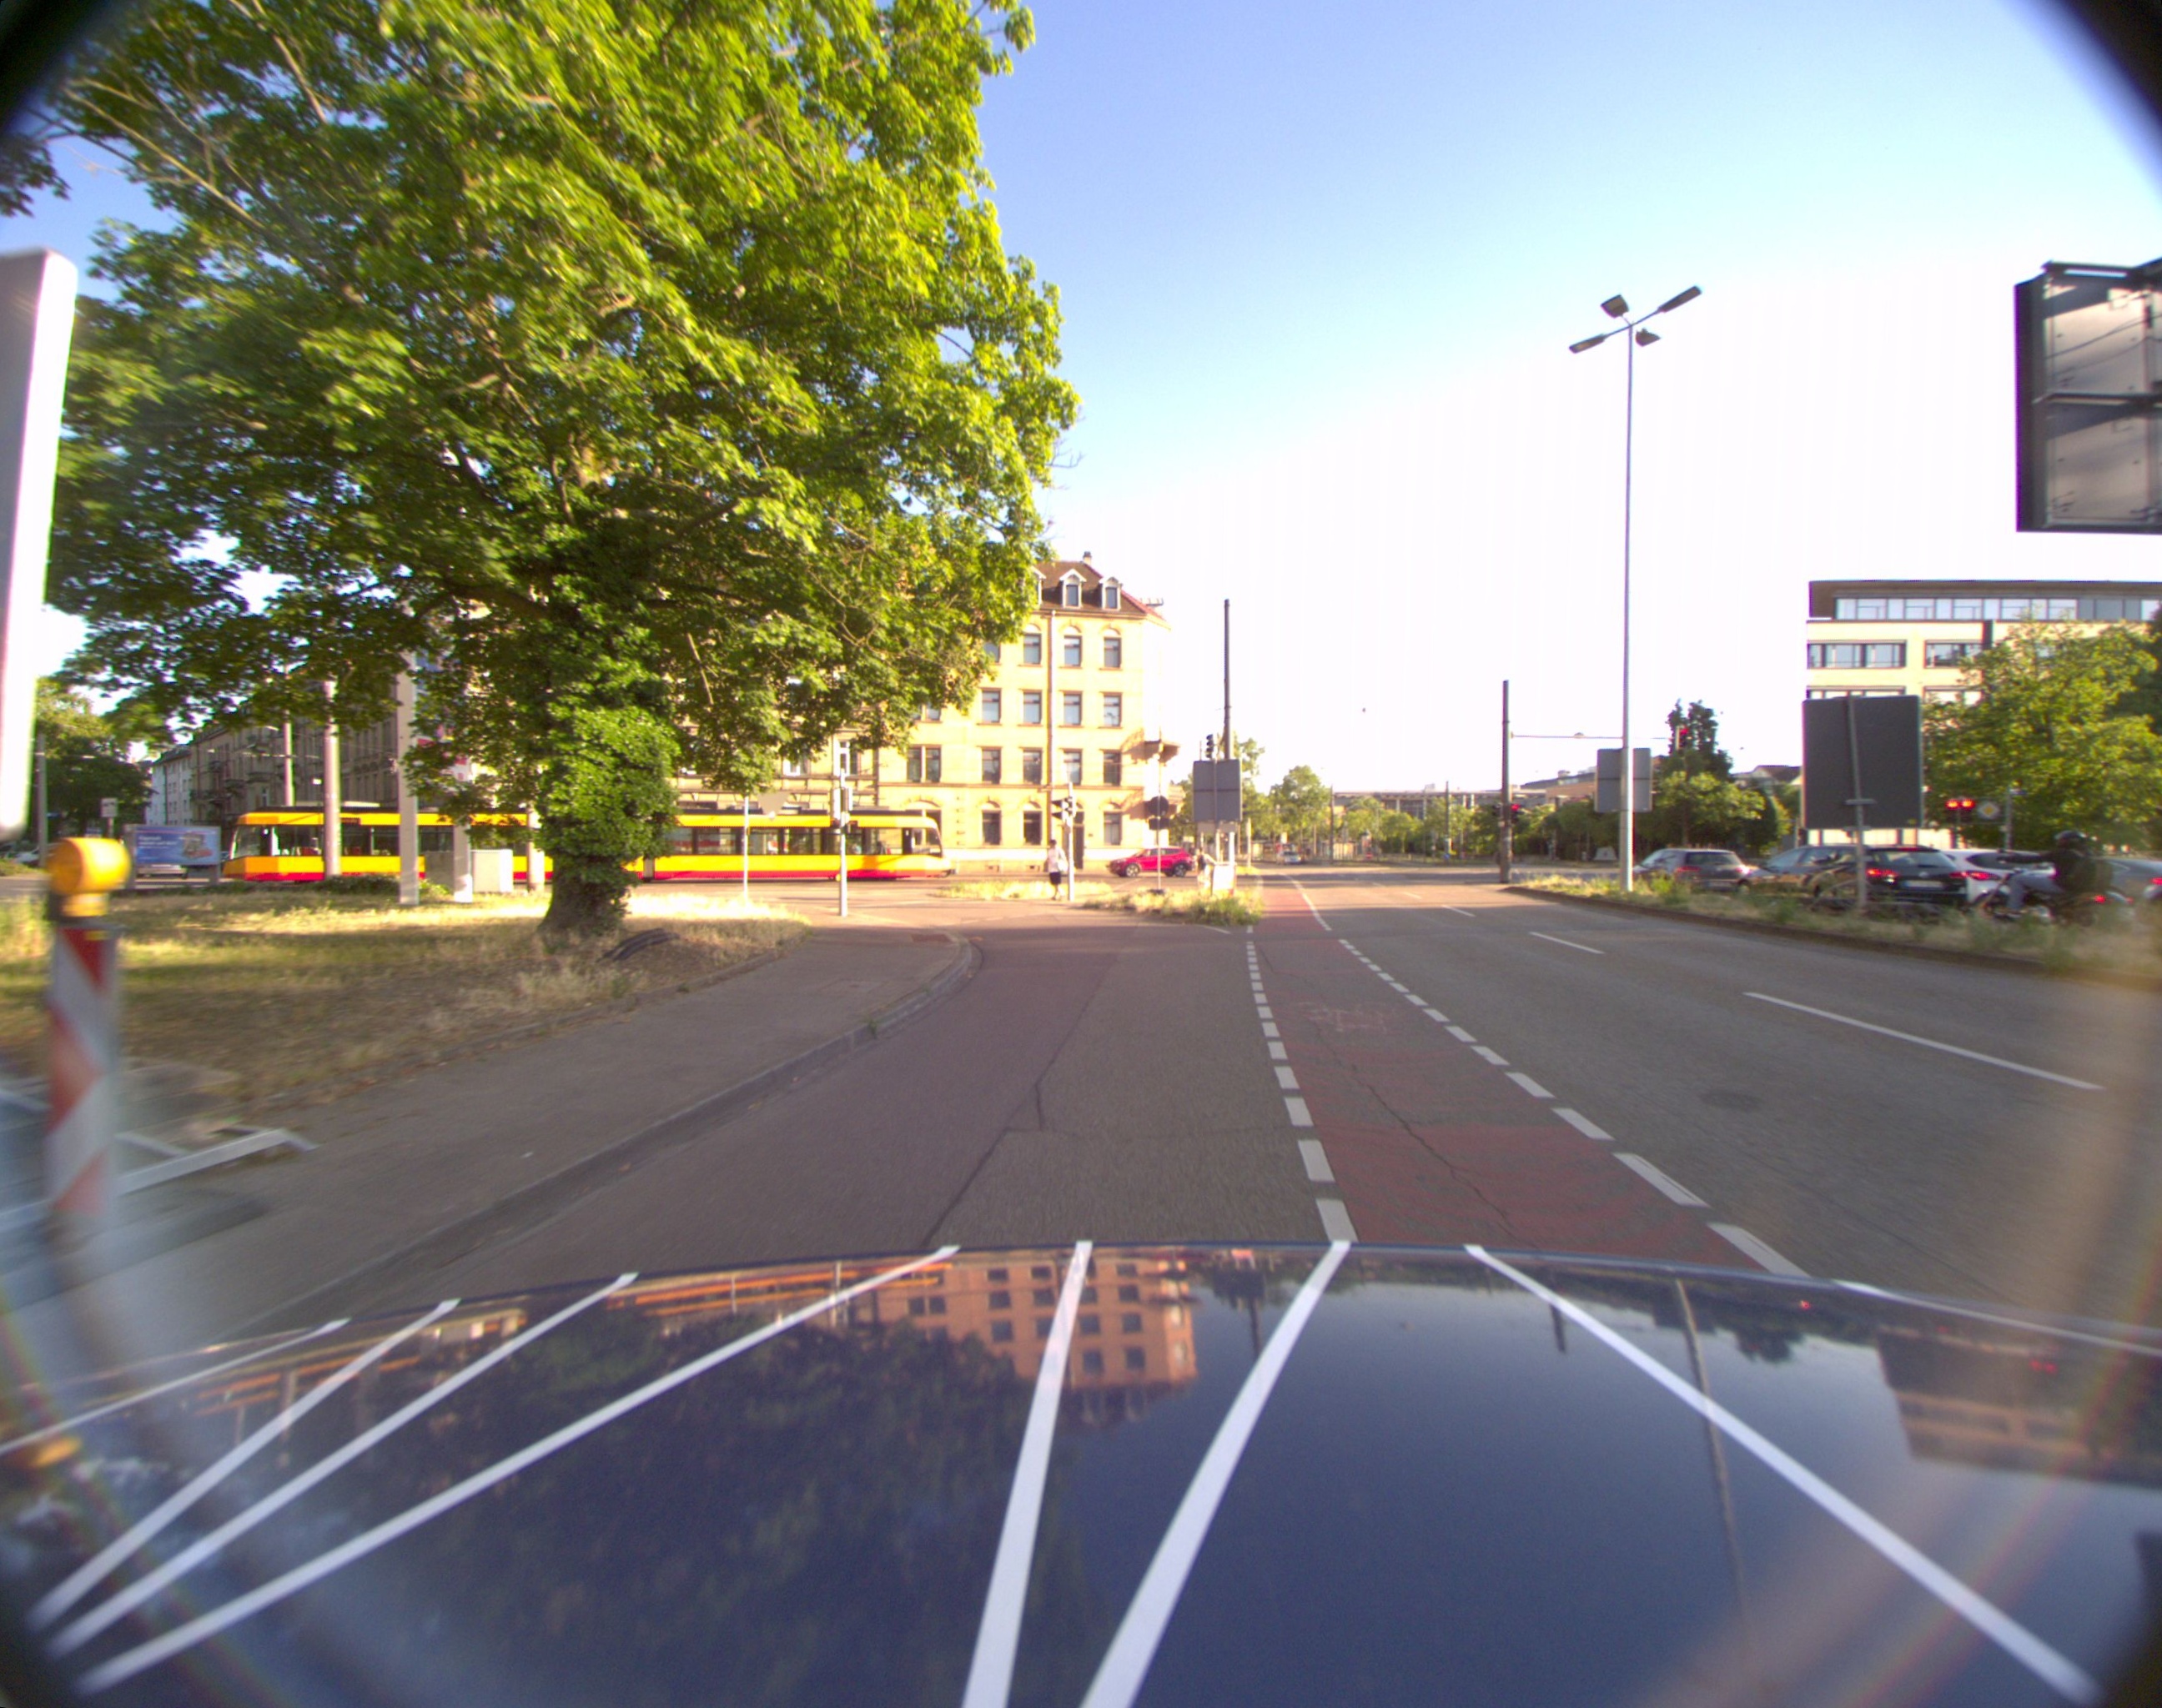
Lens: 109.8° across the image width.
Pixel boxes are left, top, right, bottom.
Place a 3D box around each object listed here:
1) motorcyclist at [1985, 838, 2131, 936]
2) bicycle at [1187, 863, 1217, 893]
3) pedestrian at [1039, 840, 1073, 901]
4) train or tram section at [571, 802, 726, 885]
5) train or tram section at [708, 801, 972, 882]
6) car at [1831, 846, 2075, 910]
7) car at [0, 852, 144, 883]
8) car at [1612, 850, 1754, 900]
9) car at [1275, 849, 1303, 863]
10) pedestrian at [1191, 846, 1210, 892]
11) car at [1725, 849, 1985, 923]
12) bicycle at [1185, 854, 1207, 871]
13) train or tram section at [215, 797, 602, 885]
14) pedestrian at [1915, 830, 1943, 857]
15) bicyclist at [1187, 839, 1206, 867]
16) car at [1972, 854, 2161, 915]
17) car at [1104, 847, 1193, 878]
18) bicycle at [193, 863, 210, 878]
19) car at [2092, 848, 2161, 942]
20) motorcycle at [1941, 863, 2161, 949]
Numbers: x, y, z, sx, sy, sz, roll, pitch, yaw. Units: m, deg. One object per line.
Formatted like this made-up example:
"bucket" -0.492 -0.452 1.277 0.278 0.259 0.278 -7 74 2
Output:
"motorcyclist" 14.554 0.460 11.366 0.853 1.390 1.062 0 1 14
"bicycle" 4.362 0.850 27.328 0.398 1.023 1.675 1 1 33
"pedestrian" -0.744 0.482 22.679 0.826 1.778 0.912 0 1 12
"train or tram section" -19.016 -0.455 33.756 5.304 3.487 2.867 0 1 -10
"train or tram section" -10.832 -0.565 35.355 11.300 3.487 2.866 0 1 -12
"car" 19.902 0.480 17.641 1.721 1.311 3.898 0 1 12
"car" -46.777 0.620 35.129 4.163 1.372 1.813 0 1 -10
"car" 17.301 0.528 22.110 1.721 1.289 4.254 0 1 16
"car" 22.677 0.209 82.951 1.998 1.565 4.000 0 1 1
"pedestrian" 4.316 0.539 27.426 0.488 1.622 0.526 1 1 33
"car" 15.582 0.545 15.688 1.721 1.289 4.381 0 1 14
"bicycle" 7.538 0.554 49.567 1.070 1.018 2.978 0 1 16
"train or tram section" -28.133 -0.525 32.432 13.013 3.487 2.868 0 1 -7
"pedestrian" 63.571 -0.804 56.979 0.988 2.002 0.930 0 1 0
"bicyclist" 7.502 -0.078 49.431 1.070 1.831 1.304 0 1 15
"car" 24.156 0.651 18.126 1.721 1.289 3.898 0 1 12
"car" 3.585 0.428 40.715 4.466 1.605 1.819 0 1 -11
"bicycle" -65.410 1.219 56.516 2.110 1.077 0.730 0 1 43
"car" 17.927 0.667 10.237 1.997 1.487 5.295 0 1 8
"motorcycle" 14.578 0.721 11.465 0.860 1.101 2.472 0 1 14
